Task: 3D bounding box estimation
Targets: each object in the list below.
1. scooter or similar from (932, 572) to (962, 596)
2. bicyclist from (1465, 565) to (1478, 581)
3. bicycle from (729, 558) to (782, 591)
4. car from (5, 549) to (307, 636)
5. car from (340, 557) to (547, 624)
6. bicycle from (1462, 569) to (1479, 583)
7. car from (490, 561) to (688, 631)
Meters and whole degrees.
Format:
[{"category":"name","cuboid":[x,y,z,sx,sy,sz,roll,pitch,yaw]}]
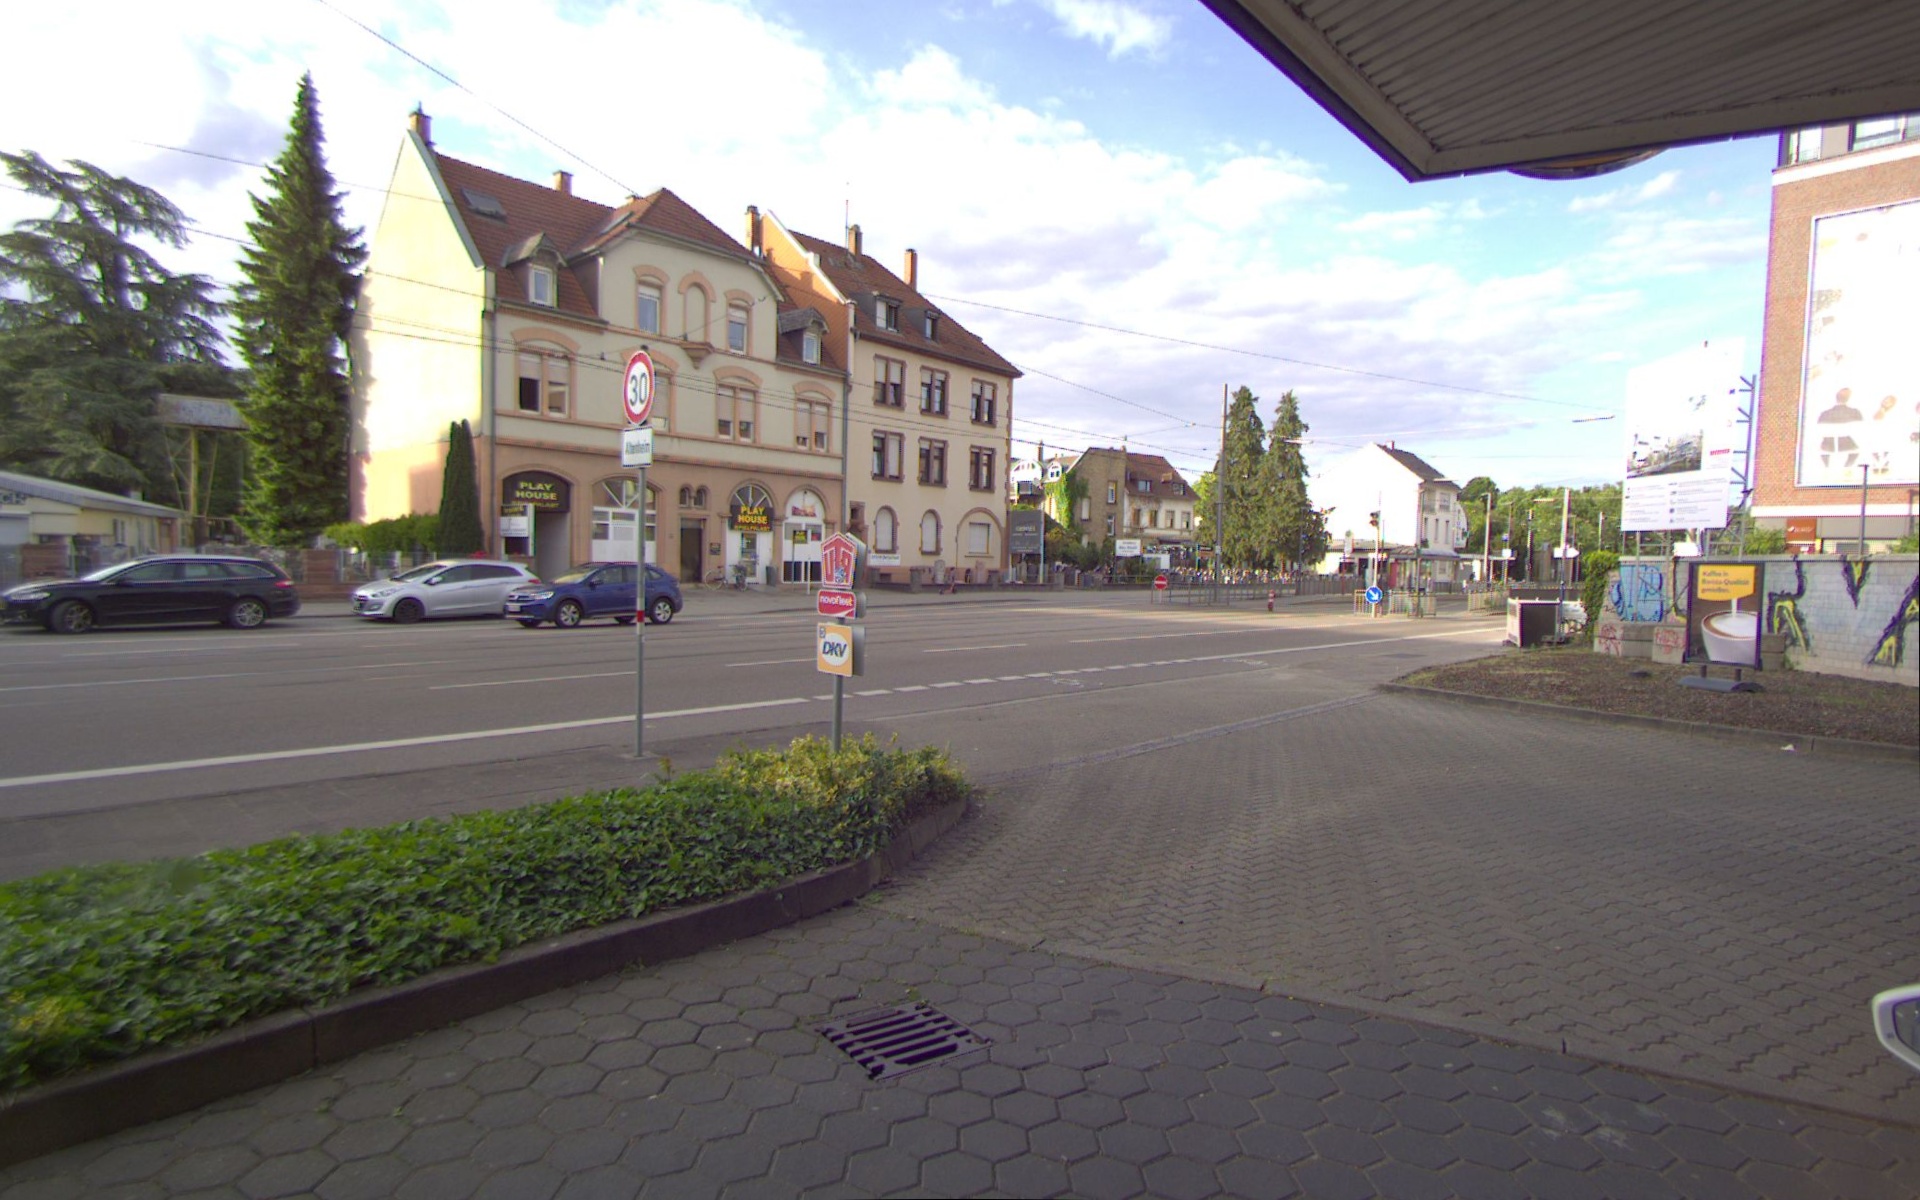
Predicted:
[{"category":"scooter or similar","cuboid":[-0.569,-0.723,45.090,0.437,1.006,1.460,6,5,41]},{"category":"bicyclist","cuboid":[49.942,-2.629,98.090,0.915,1.428,0.742,-1,10,-44]},{"category":"bicycle","cuboid":[-8.250,-1.009,40.624,0.741,1.219,2.011,8,5,41]},{"category":"car","cuboid":[-16.488,-0.177,20.814,1.827,1.542,4.642,5,4,40]},{"category":"car","cuboid":[-12.930,-0.254,25.353,1.718,1.502,4.357,3,2,41]},{"category":"bicycle","cuboid":[49.871,-2.314,98.071,1.809,1.219,0.742,0,11,-44]},{"category":"car","cuboid":[-8.714,-0.149,23.877,1.833,1.489,4.124,3,3,35]}]
